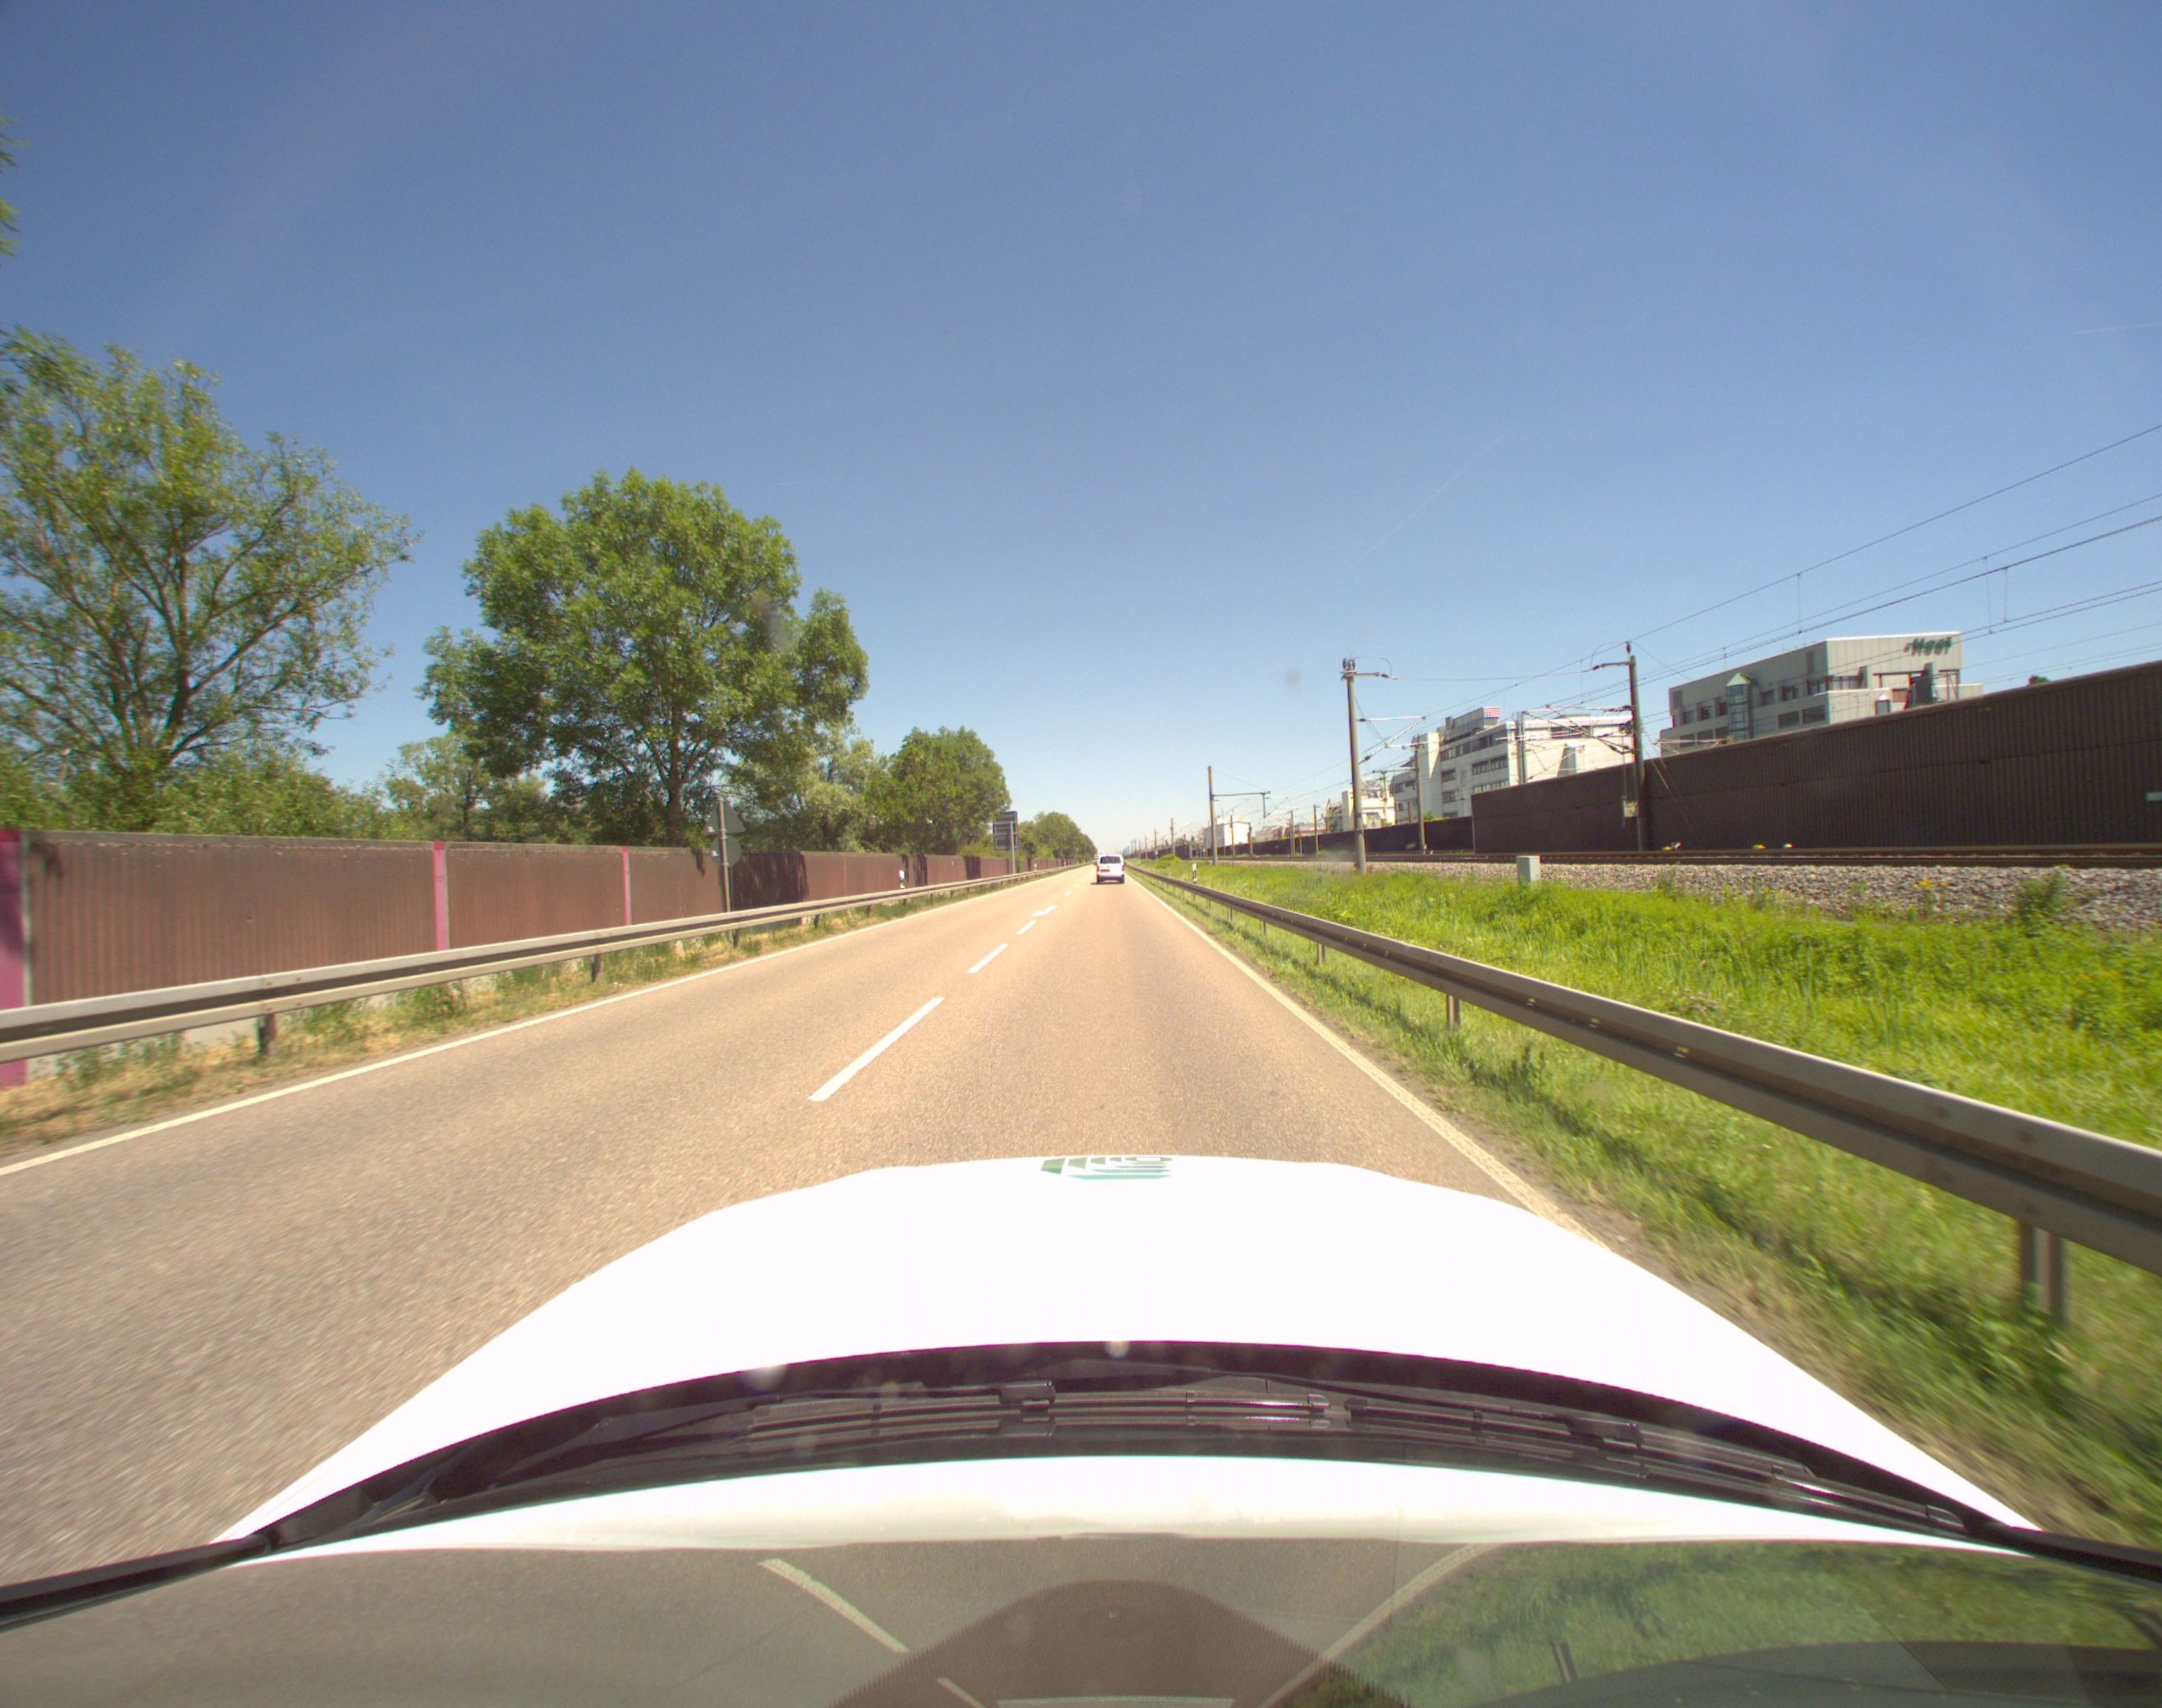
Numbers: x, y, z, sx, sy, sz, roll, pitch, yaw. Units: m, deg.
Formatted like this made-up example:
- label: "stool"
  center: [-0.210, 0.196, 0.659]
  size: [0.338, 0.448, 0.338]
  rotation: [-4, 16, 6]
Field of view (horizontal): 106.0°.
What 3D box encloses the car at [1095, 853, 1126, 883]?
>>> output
- label: "car"
  center: [1.974, 0.938, 55.047]
  size: [1.938, 1.881, 4.882]
  rotation: [-1, -1, 2]
